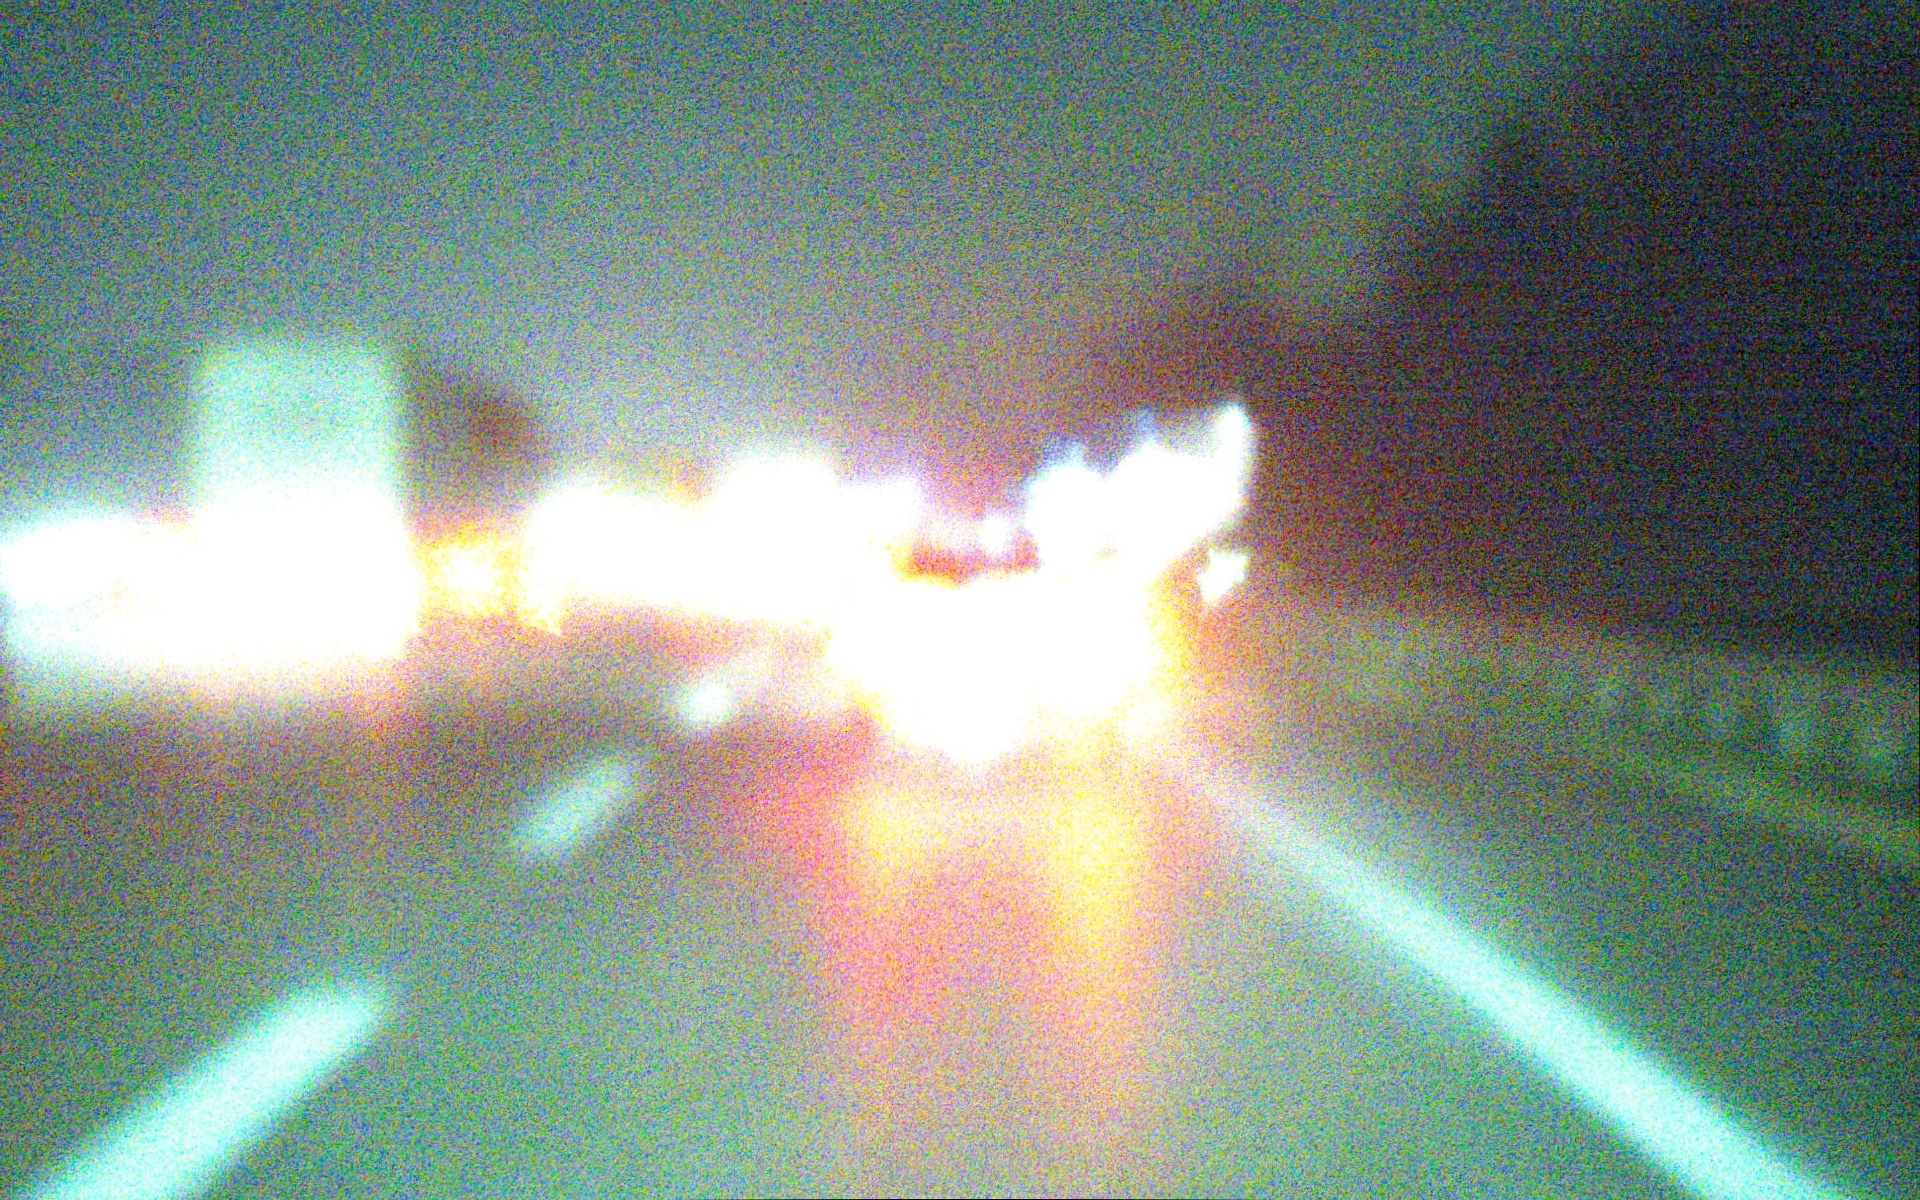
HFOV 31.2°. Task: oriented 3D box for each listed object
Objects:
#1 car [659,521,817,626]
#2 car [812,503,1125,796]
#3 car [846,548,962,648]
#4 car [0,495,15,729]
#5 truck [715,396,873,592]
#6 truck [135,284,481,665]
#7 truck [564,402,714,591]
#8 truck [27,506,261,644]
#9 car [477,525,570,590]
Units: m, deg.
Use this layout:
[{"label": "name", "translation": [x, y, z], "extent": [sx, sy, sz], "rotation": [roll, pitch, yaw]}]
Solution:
[{"label": "car", "translation": [-4.478, -0.557, 70.365], "extent": [2.833, 2.007, 5.510], "rotation": [1, 1, 0]}, {"label": "car", "translation": [0.058, 0.277, 23.034], "extent": [1.878, 1.756, 4.000], "rotation": [1, 1, 0]}, {"label": "car", "translation": [-0.986, -0.070, 62.137], "extent": [1.993, 1.698, 4.459], "rotation": [1, 1, 0]}, {"label": "car", "translation": [-8.014, 0.102, 23.859], "extent": [2.038, 1.755, 4.517], "rotation": [1, 1, -6]}, {"label": "truck", "translation": [-4.742, -2.928, 97.553], "extent": [4.161, 5.197, 9.955], "rotation": [1, 1, -3]}, {"label": "truck", "translation": [-8.903, -1.652, 48.264], "extent": [3.655, 4.721, 9.854], "rotation": [1, 1, -5]}, {"label": "truck", "translation": [-9.794, -3.111, 106.121], "extent": [4.253, 5.425, 10.886], "rotation": [1, 1, -4]}, {"label": "truck", "translation": [-13.858, -0.453, 58.812], "extent": [2.857, 2.193, 5.859], "rotation": [1, 1, -3]}, {"label": "car", "translation": [-11.991, -1.173, 94.762], "extent": [1.993, 1.698, 4.459], "rotation": [1, 1, 0]}]
